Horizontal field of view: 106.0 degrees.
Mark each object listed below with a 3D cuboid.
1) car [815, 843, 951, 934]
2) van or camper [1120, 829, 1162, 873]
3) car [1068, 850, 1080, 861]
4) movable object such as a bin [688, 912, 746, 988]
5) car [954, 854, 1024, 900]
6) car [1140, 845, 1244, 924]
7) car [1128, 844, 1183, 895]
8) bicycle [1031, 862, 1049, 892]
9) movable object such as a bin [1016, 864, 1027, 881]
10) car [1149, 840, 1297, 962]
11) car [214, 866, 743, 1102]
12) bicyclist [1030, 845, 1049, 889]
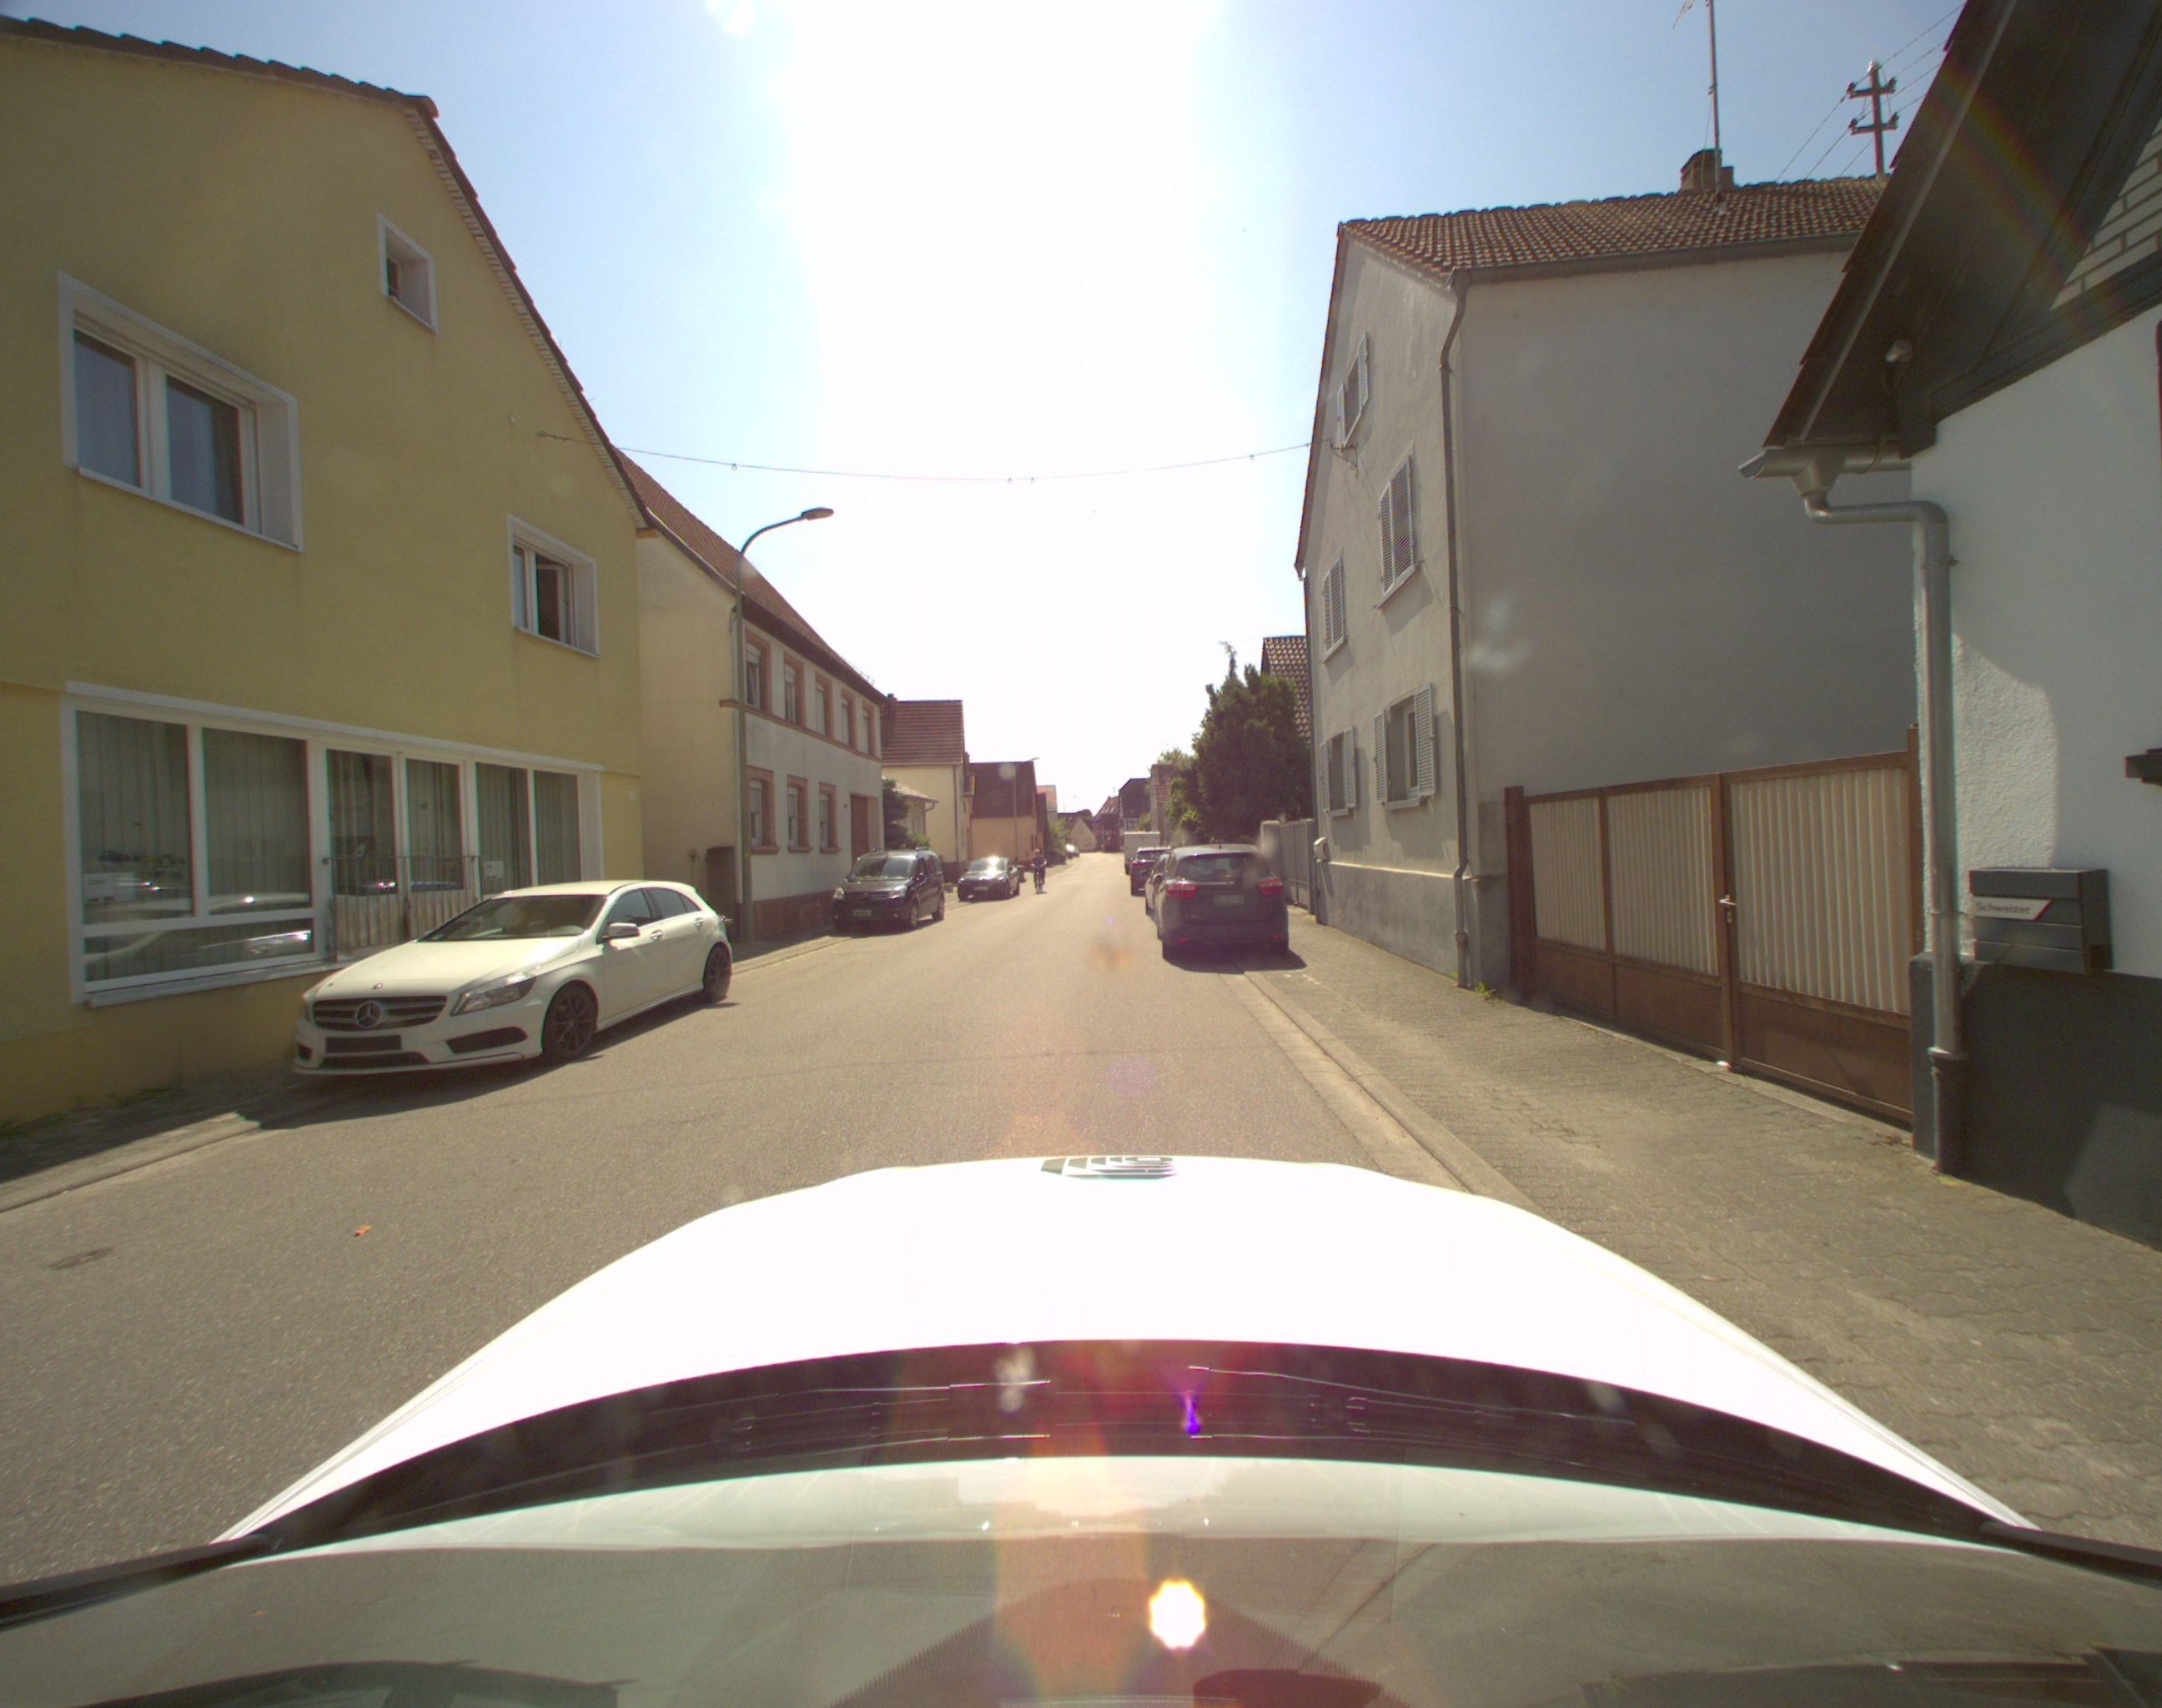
[{"bbox_3d":[-4.504,0.710,19.264,1.827,1.837,4.357,-3,0,3],"label":"car"},{"bbox_3d":[3.888,-0.194,53.620,2.512,2.696,4.557,-2,0,2],"label":"van or camper"},{"bbox_3d":[-1.008,0.182,116.420,1.505,1.436,3.514,-3,0,3],"label":"car"},{"bbox_3d":[-4.660,1.220,10.432,0.421,0.905,0.498,-2,0,21],"label":"movable object such as a bin"},{"bbox_3d":[-3.414,0.815,31.084,1.836,1.526,4.770,-2,0,3],"label":"car"},{"bbox_3d":[2.377,0.606,18.542,1.813,1.508,4.583,-2,0,2],"label":"car"},{"bbox_3d":[2.728,0.494,29.629,1.785,1.631,4.368,-2,1,6],"label":"car"},{"bbox_3d":[-1.657,0.915,33.215,0.587,1.148,1.948,-3,0,-1],"label":"bicycle"},{"bbox_3d":[-3.389,1.057,46.145,0.537,0.949,0.553,-1,0,2],"label":"movable object such as a bin"},{"bbox_3d":[2.097,0.621,13.234,1.790,1.560,4.635,-2,0,3],"label":"car"},{"bbox_3d":[-5.063,0.931,7.790,1.829,1.464,4.269,-3,0,-1],"label":"car"},{"bbox_3d":[-1.687,0.537,33.386,0.702,1.771,0.624,-2,0,-1],"label":"bicyclist"}]
